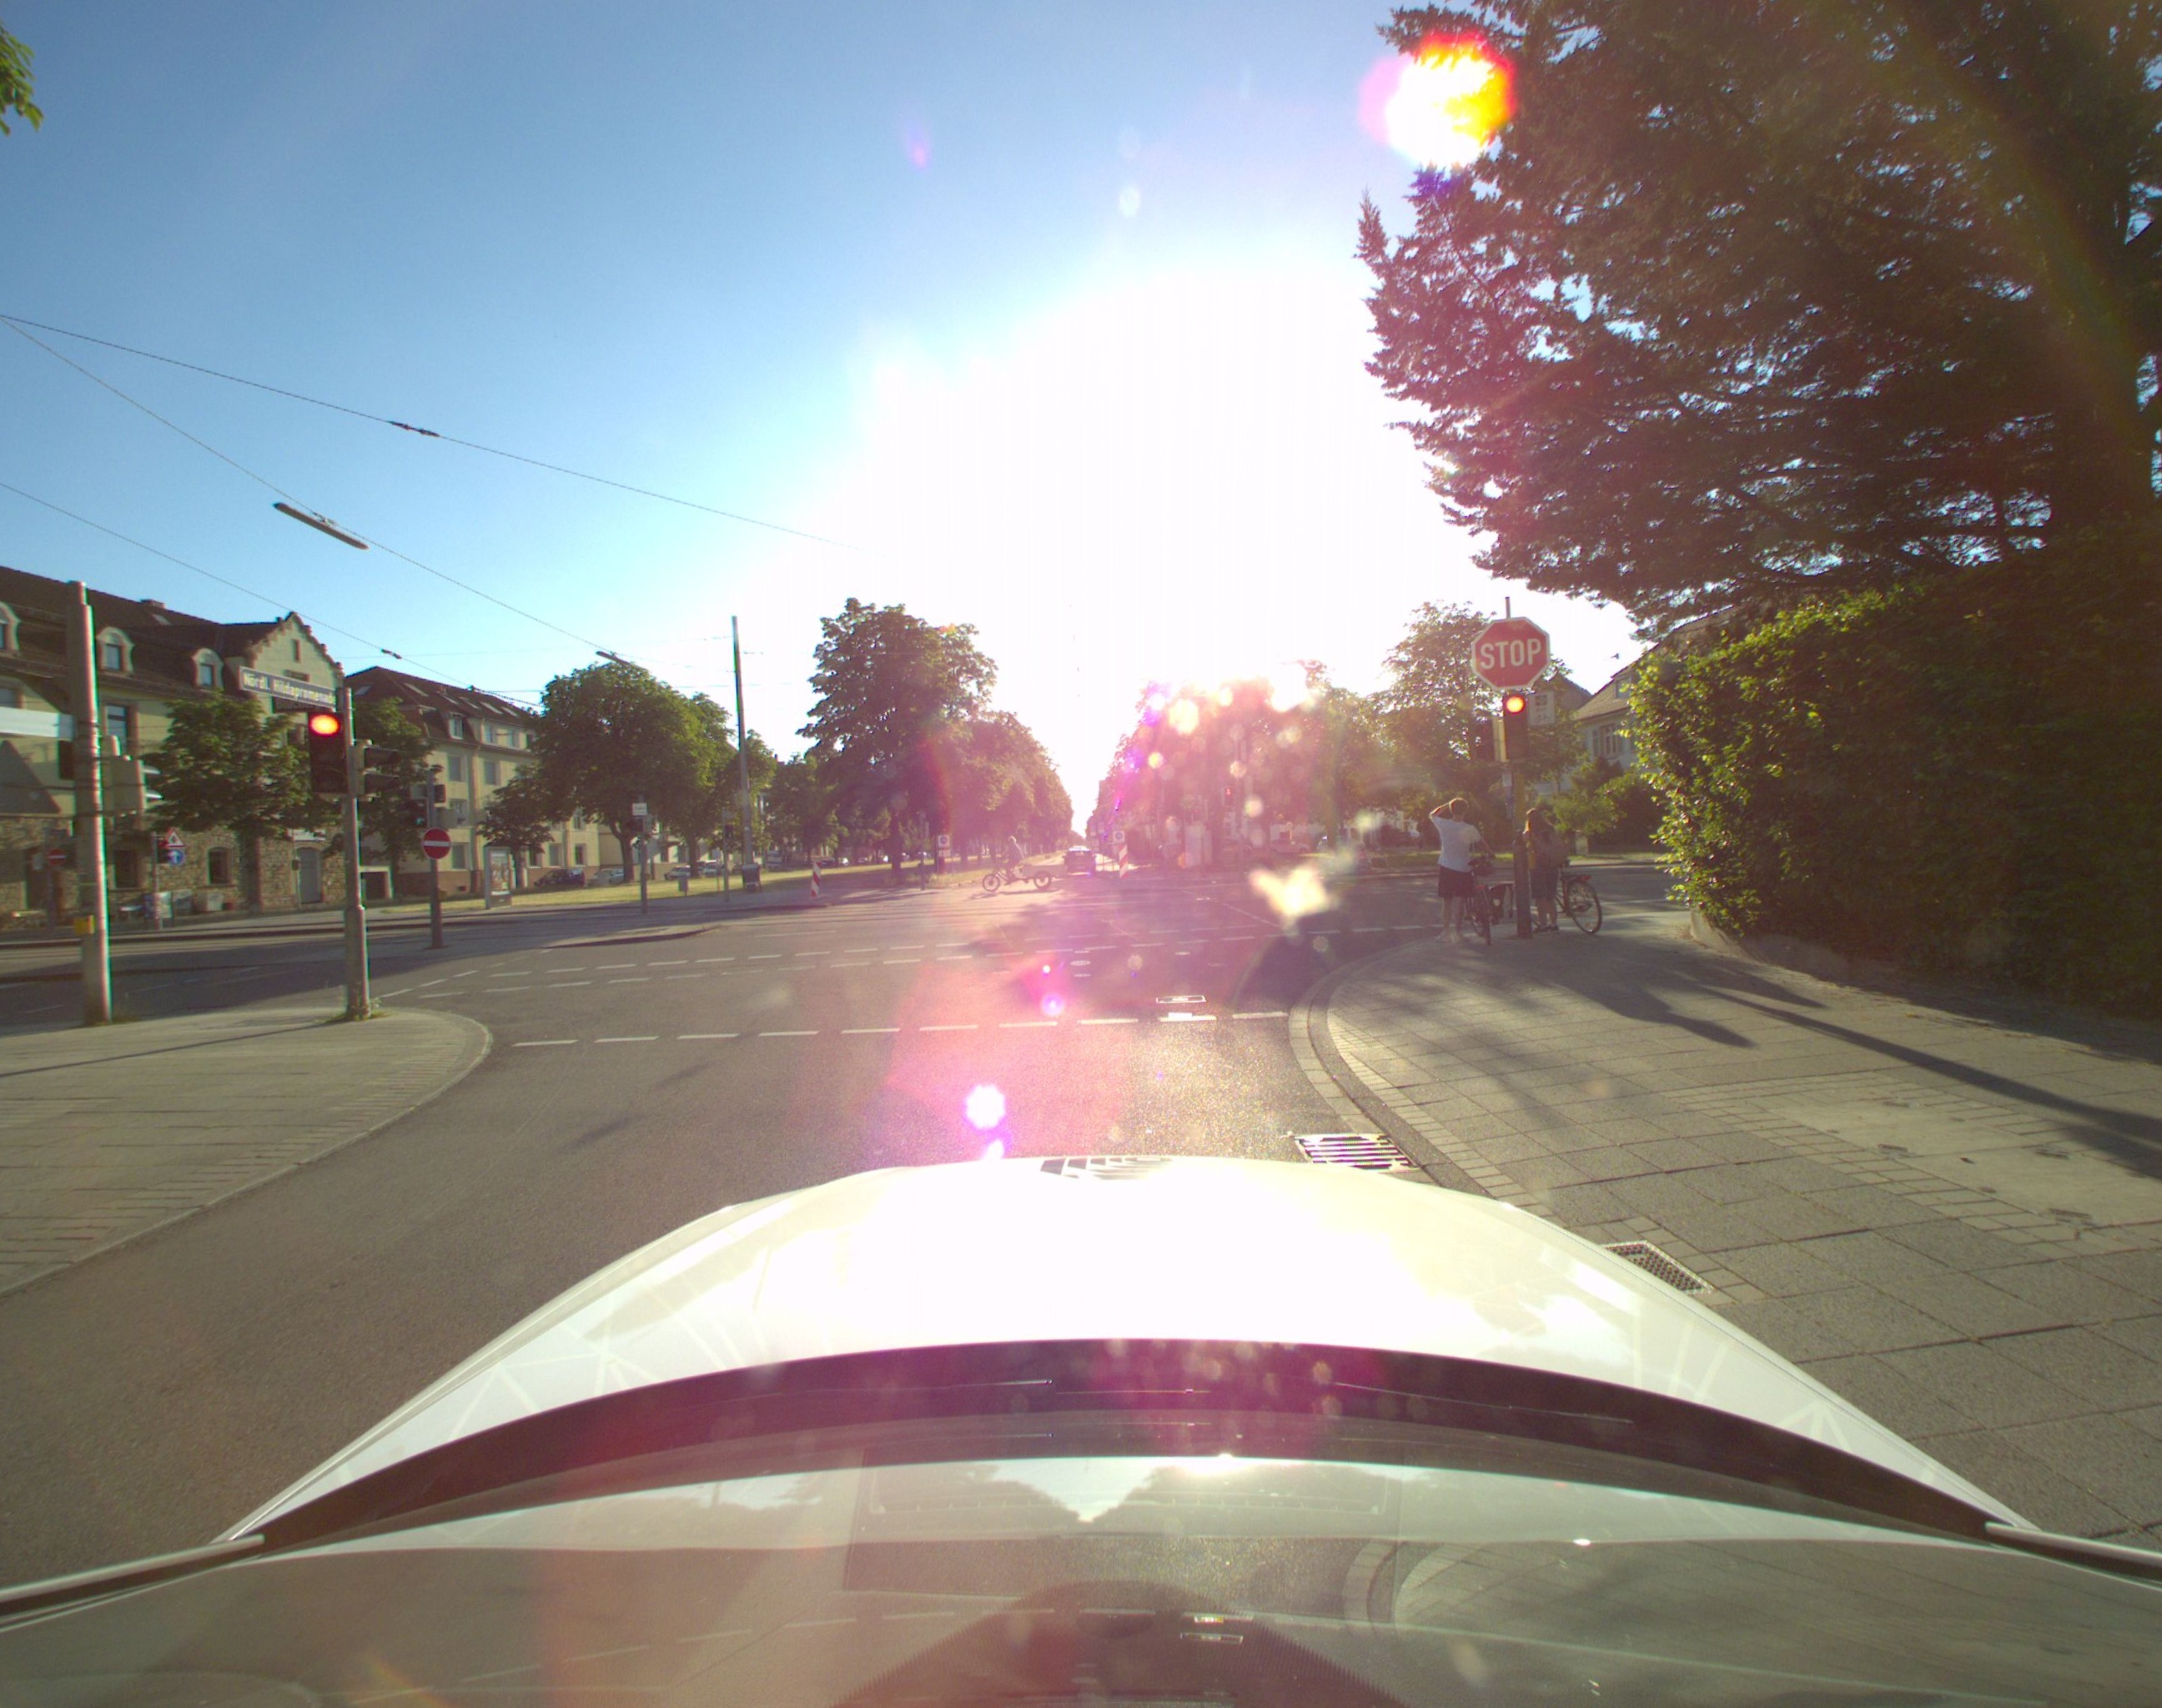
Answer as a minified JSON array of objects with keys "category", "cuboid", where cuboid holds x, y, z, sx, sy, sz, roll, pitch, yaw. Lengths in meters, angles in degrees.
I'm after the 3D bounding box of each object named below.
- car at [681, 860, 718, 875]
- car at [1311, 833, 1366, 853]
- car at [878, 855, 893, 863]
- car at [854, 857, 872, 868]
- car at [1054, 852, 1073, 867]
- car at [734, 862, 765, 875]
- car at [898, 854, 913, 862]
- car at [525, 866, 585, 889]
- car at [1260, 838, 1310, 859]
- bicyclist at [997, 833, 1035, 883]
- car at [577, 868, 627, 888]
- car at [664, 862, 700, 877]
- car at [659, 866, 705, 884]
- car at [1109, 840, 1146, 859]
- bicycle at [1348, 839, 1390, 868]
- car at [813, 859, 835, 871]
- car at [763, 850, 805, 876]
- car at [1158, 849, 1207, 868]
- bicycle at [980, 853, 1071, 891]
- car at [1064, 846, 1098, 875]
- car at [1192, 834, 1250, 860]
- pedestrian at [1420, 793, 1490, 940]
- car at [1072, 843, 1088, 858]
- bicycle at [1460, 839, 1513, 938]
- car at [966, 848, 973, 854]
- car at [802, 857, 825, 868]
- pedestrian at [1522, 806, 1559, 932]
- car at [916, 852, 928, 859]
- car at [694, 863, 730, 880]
[{"category":"car","cuboid":[-43.889,1.574,93.905,1.986,1.659,4.572,0,-1,2]},{"category":"car","cuboid":[20.739,-0.876,65.649,3.915,1.524,1.521,-1,-1,-5]},{"category":"car","cuboid":[-41.746,0.977,173.890,1.986,1.659,4.357,0,-1,2]},{"category":"car","cuboid":[-36.927,1.384,137.907,1.805,1.781,4.123,0,-1,1]},{"category":"car","cuboid":[-1.661,0.553,78.425,1.704,1.359,4.202,0,0,0]},{"category":"car","cuboid":[-42.220,1.815,103.919,1.986,1.659,4.572,0,-1,2]},{"category":"car","cuboid":[-36.329,0.904,168.658,2.016,1.659,3.984,0,-1,1]},{"category":"car","cuboid":[-43.277,1.906,67.113,1.986,1.736,4.313,0,-1,2]},{"category":"car","cuboid":[16.269,-0.456,65.045,3.548,1.516,1.602,-2,0,-6]},{"category":"bicyclist","cuboid":[-2.310,0.147,29.132,1.139,1.723,0.876,-3,-1,4]},{"category":"car","cuboid":[-43.114,2.161,73.428,1.986,1.659,4.001,0,-1,2]},{"category":"car","cuboid":[-42.837,1.643,87.463,1.709,1.633,4.192,0,-1,2]},{"category":"car","cuboid":[-37.476,1.941,76.674,1.986,1.659,4.572,0,-1,2]},{"category":"car","cuboid":[5.327,-0.492,93.636,3.980,1.822,1.757,-3,-5,-5]},{"category":"bicycle","cuboid":[11.554,-0.036,32.721,1.512,1.089,0.468,-2,0,10]},{"category":"car","cuboid":[-37.119,1.527,117.716,1.873,1.674,4.315,0,0,1]},{"category":"car","cuboid":[-37.175,1.071,102.211,2.384,3.131,7.853,0,0,0]},{"category":"car","cuboid":[8.782,0.380,70.630,3.975,1.447,1.715,-2,-1,-1]},{"category":"bicycle","cuboid":[-1.966,0.637,29.106,3.059,1.161,0.876,-3,-1,4]},{"category":"car","cuboid":[0.067,0.355,44.698,1.719,1.511,4.542,0,0,2]},{"category":"car","cuboid":[11.230,-0.559,65.412,4.228,1.875,2.030,-2,-1,-1]},{"category":"pedestrian","cuboid":[5.011,0.165,10.955,0.622,1.866,0.778,-6,-1,20]},{"category":"car","cuboid":[-0.103,-0.460,103.935,1.987,1.781,3.999,0,1,-1]},{"category":"bicycle","cuboid":[5.294,0.395,10.676,0.567,1.184,1.917,0,1,25]},{"category":"car","cuboid":[-34.841,-0.978,255.125,1.649,1.938,3.566,0,-2,-1]},{"category":"car","cuboid":[-42.037,1.317,127.918,1.986,1.659,4.376,0,-1,2]},{"category":"pedestrian","cuboid":[5.956,0.192,10.575,0.346,1.585,0.465,-1,-1,23]},{"category":"car","cuboid":[-36.735,0.333,188.331,1.987,1.658,4.570,-2,0,0]},{"category":"car","cuboid":[-37.334,1.728,82.528,1.791,1.554,4.417,0,1,-2]}]
